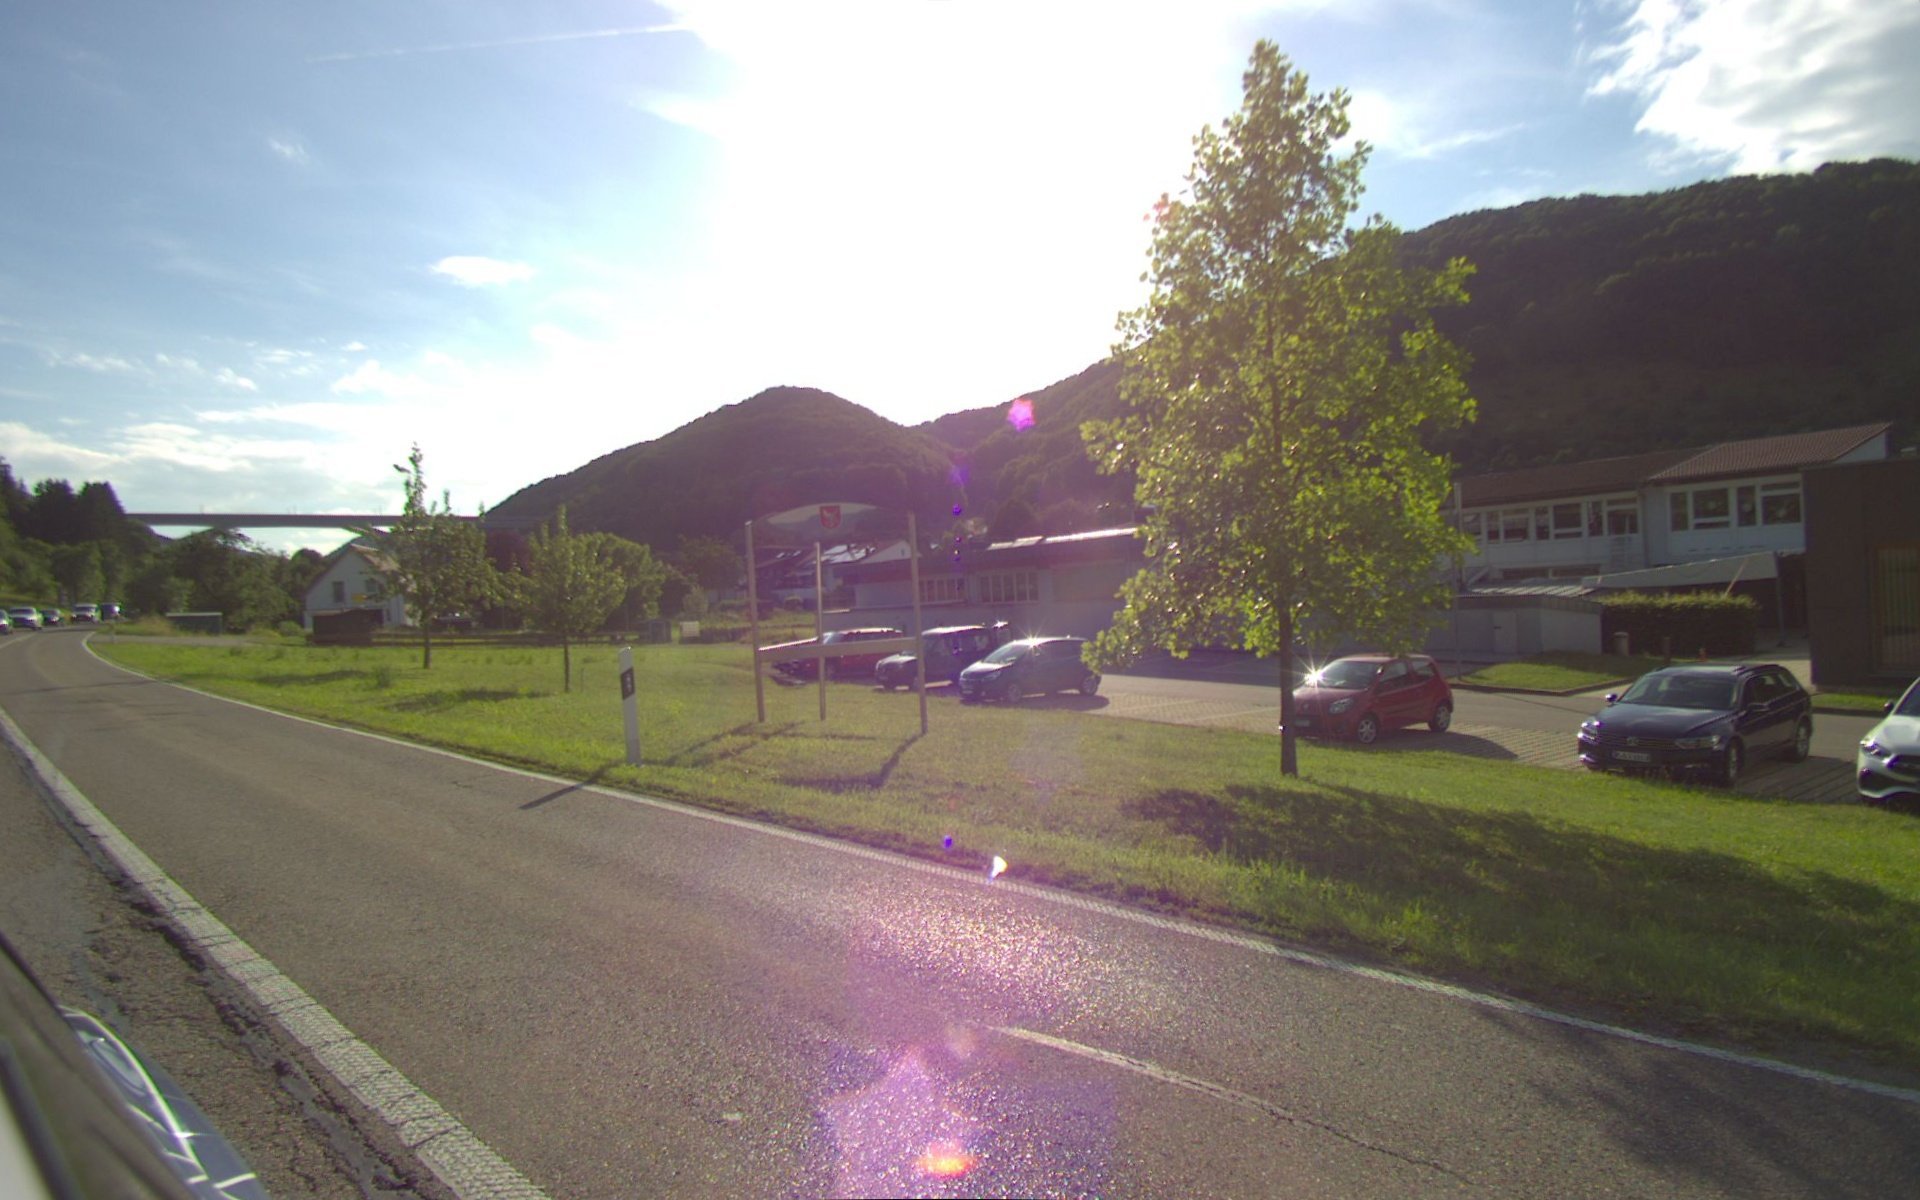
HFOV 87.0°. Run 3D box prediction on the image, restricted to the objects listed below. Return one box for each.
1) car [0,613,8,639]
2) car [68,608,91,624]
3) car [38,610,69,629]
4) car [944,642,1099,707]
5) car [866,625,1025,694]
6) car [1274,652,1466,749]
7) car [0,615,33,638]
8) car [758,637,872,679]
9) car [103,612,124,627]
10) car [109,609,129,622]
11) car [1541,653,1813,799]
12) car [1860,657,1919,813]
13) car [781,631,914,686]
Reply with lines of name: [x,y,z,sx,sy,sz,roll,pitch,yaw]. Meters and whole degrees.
car: [-57.554,1.537,59.966,1.607,1.490,3.682,-1,0,-44]
car: [-84.084,1.483,96.655,1.606,1.490,3.684,-1,0,-42]
car: [-74.168,1.559,82.816,1.605,1.490,3.687,-1,0,-38]
car: [1.662,1.921,26.843,3.956,1.463,1.688,-1,-2,-39]
car: [-0.375,1.749,31.240,4.928,1.807,1.688,-1,0,-39]
car: [7.607,1.773,18.689,3.672,1.408,1.619,-1,0,-37]
car: [-65.257,1.810,69.986,1.607,1.490,3.682,-1,0,-44]
car: [-5.448,2.142,38.239,3.835,1.379,1.857,0,0,-36]
car: [-90.974,2.104,108.813,1.605,1.490,3.687,-1,0,-38]
car: [-98.739,1.782,118.800,1.605,1.490,3.687,-1,0,-38]
car: [10.684,1.714,14.976,4.479,1.566,2.005,-1,0,-37]
car: [12.778,1.555,12.221,4.479,1.566,2.005,-1,0,-37]
car: [-3.933,2.007,35.613,4.262,1.682,1.853,-1,0,-33]
